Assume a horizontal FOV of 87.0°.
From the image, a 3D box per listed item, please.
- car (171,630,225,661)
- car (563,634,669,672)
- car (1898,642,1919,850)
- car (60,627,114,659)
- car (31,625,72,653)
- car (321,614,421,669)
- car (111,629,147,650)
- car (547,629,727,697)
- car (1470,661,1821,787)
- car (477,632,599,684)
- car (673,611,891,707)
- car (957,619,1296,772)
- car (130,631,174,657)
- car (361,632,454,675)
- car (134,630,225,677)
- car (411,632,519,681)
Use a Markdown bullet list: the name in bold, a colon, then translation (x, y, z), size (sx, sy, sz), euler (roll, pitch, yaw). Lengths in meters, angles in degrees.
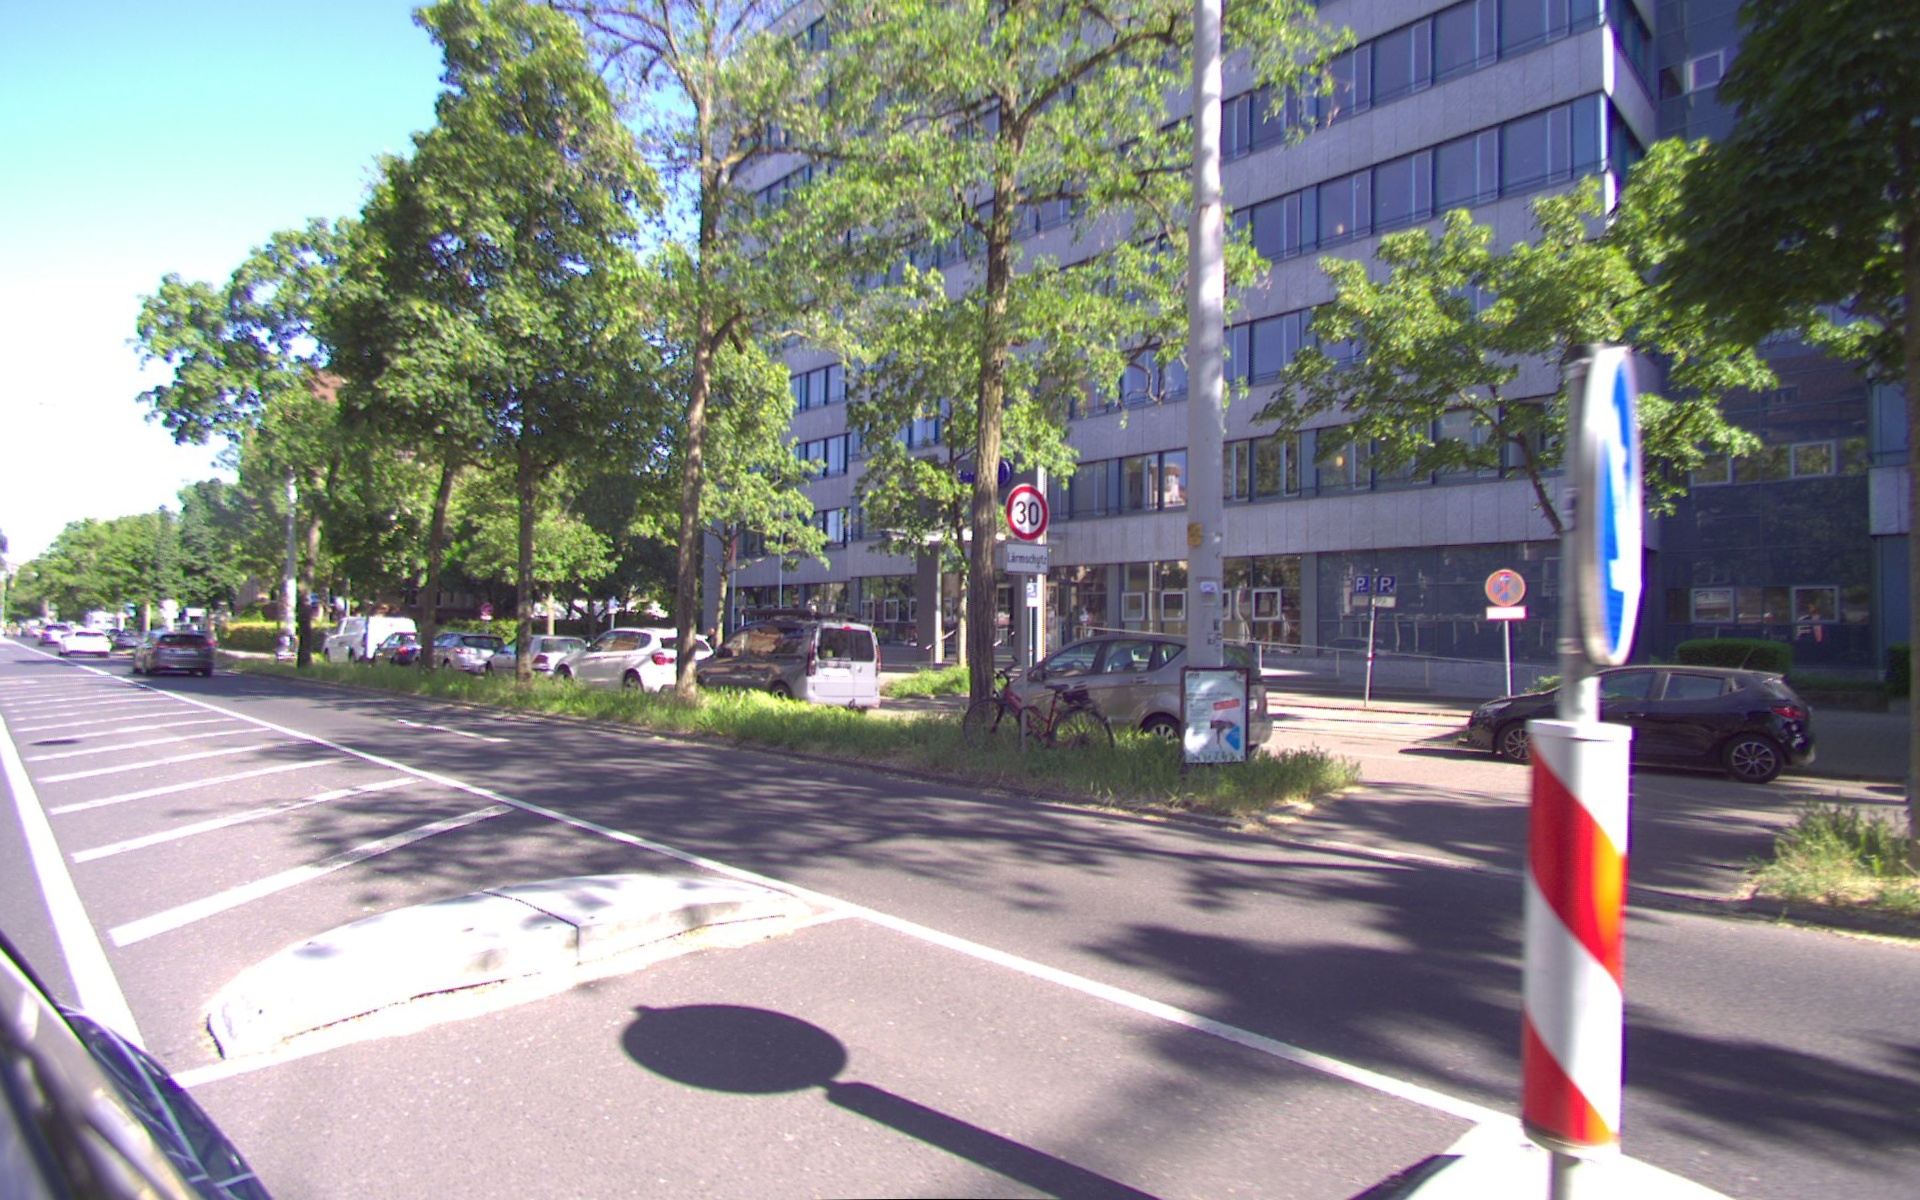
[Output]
- **car**: translation (-39.271, 2.332, 52.123), size (1.716, 1.501, 4.003), euler (3, -3, -44)
- **car**: translation (-14.939, 2.268, 44.046), size (3.940, 1.564, 1.897), euler (3, -3, -43)
- **car**: translation (8.799, 1.062, 6.311), size (4.283, 1.459, 1.634), euler (-2, -7, 44)
- **car**: translation (-45.794, 2.222, 53.073), size (4.190, 1.596, 1.767), euler (-2, -3, 44)
- **car**: translation (-68.899, 2.924, 76.706), size (2.138, 2.029, 4.414), euler (3, -3, -43)
- **car**: translation (-22.086, 1.536, 37.898), size (4.527, 1.923, 2.042), euler (-2, -3, 44)
- **car**: translation (-58.066, 2.728, 70.656), size (1.583, 1.425, 4.003), euler (3, -3, -44)
- **car**: translation (-7.396, 1.368, 22.948), size (4.488, 1.394, 1.699), euler (-1, -3, 39)
- **car**: translation (9.311, 1.585, 13.925), size (3.800, 1.414, 1.663), euler (-1, -4, 42)
- **car**: translation (-11.018, 1.460, 26.296), size (1.632, 1.236, 3.850), euler (3, -3, -44)
- **car**: translation (-3.395, 1.031, 18.692), size (4.450, 1.561, 1.710), euler (-2, -3, 45)
- **car**: translation (2.009, 1.111, 13.076), size (1.752, 1.659, 4.086), euler (3, -3, -44)
- **car**: translation (-47.234, 2.563, 59.119), size (1.583, 1.425, 4.003), euler (3, -3, -44)
- **car**: translation (-18.575, 1.773, 33.944), size (1.656, 1.343, 4.191), euler (3, -3, -44)
- **car**: translation (-25.514, 1.726, 33.052), size (4.190, 1.433, 1.767), euler (-2, -4, 45)
- **car**: translation (-14.803, 1.635, 30.185), size (3.970, 1.355, 1.634), euler (-2, -3, 44)
